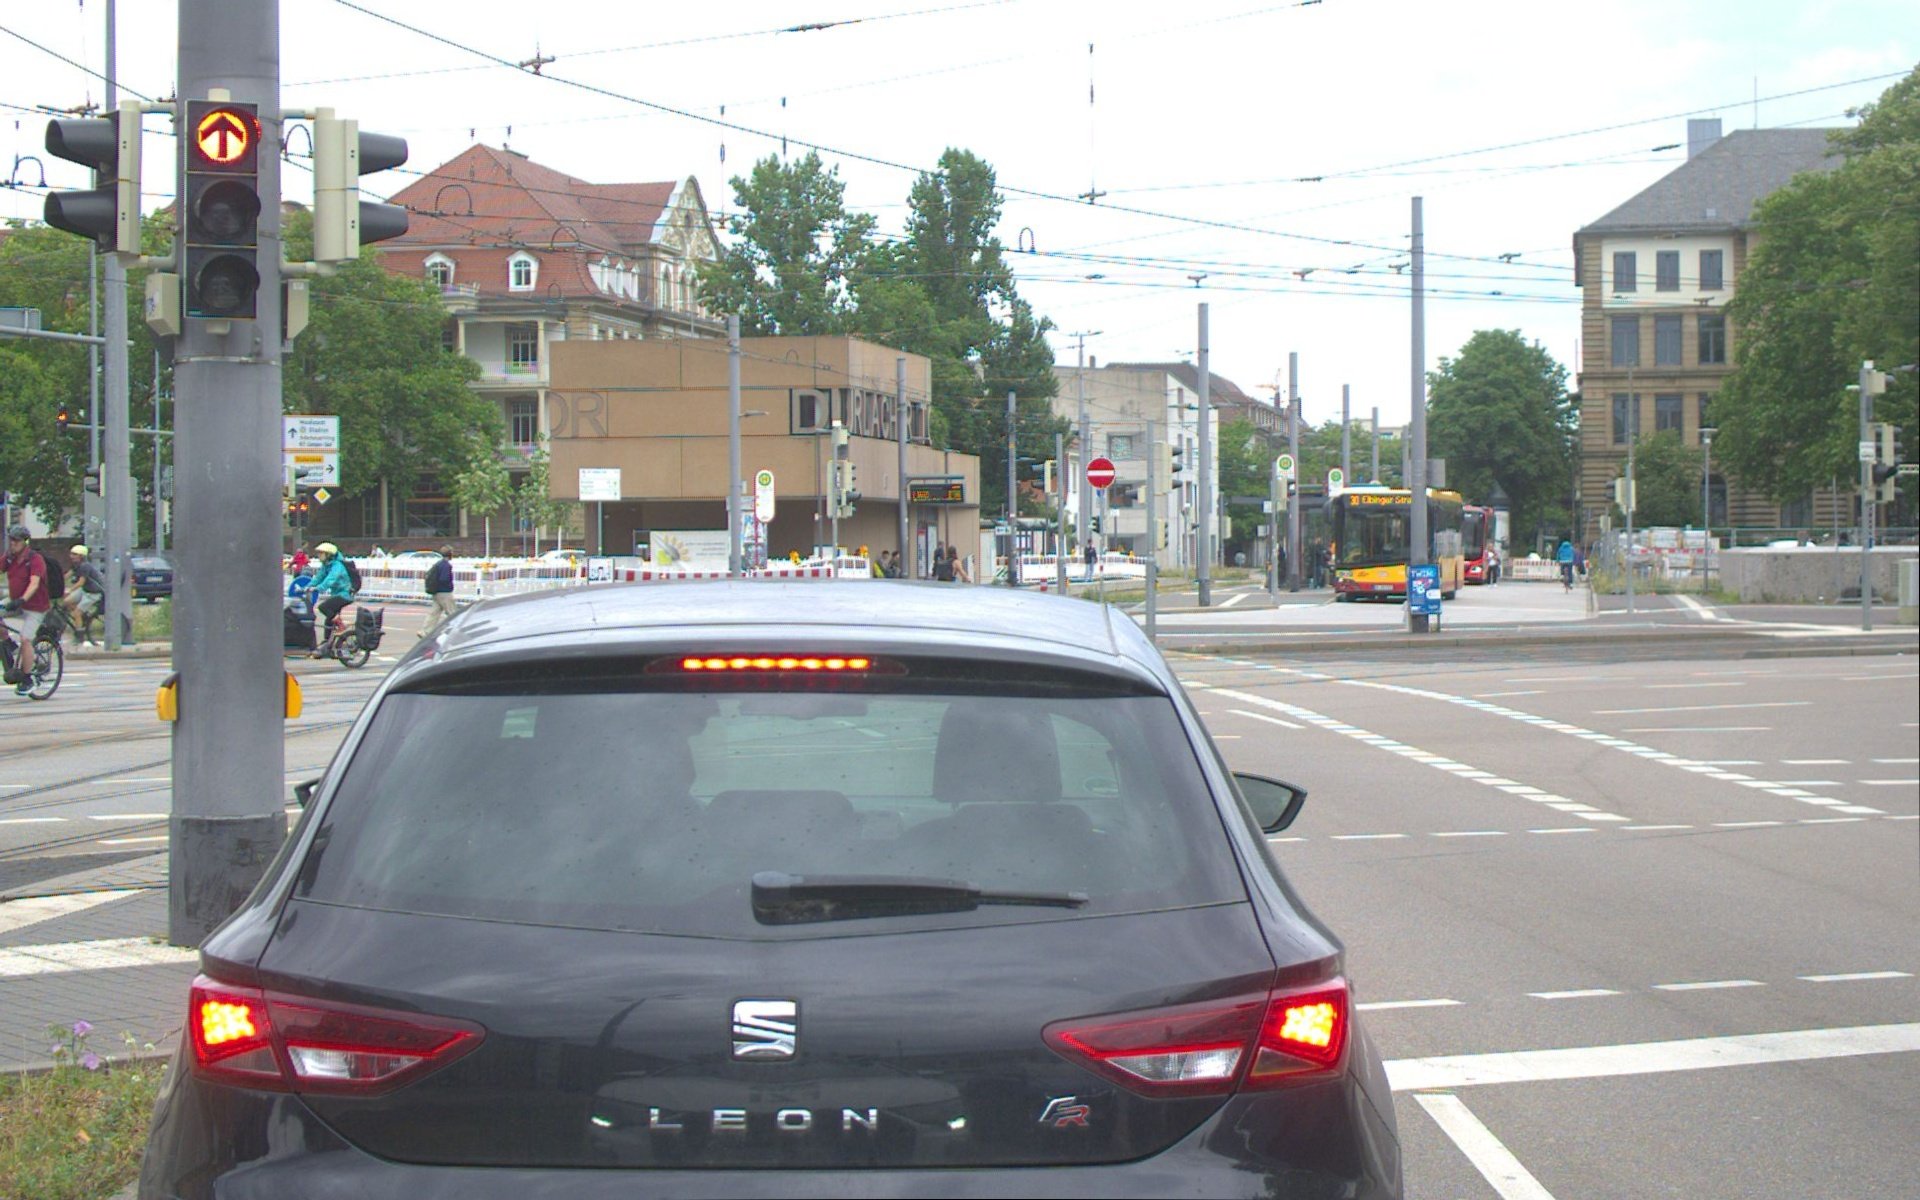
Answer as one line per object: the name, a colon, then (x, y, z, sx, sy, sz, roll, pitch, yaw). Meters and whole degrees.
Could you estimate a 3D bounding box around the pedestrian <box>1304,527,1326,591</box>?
pedestrian: (10.786, -1.248, 104.475, 0.621, 1.911, 0.698, 0, 1, 9)

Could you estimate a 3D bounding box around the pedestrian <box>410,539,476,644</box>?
pedestrian: (-9.583, -0.168, 63.713, 1.027, 1.927, 0.701, -1, 1, -25)

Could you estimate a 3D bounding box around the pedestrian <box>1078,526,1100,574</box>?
pedestrian: (5.148, -2.006, 137.512, 0.622, 1.911, 0.709, -1, 0, 25)

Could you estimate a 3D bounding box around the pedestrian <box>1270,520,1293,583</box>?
pedestrian: (9.731, -1.465, 104.056, 0.621, 1.911, 0.698, 0, 1, 9)

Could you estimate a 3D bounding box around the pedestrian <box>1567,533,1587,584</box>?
pedestrian: (24.049, -1.619, 133.965, 0.662, 2.007, 0.692, 0, 1, 0)

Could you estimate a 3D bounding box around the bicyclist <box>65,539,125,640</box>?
bicyclist: (-14.463, -0.184, 57.480, 0.854, 1.667, 0.654, -1, 1, -25)

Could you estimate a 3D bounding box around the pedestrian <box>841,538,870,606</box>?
pedestrian: (-2.954, -0.806, 97.371, 0.708, 1.911, 0.623, 0, 1, 7)

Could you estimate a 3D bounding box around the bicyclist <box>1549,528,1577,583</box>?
bicyclist: (20.155, -1.488, 114.857, 0.872, 1.845, 1.047, 0, 1, 12)

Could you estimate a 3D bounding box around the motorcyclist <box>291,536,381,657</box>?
motorcyclist: (-8.586, -0.049, 47.293, 0.977, 1.644, 0.750, -1, 0, -33)

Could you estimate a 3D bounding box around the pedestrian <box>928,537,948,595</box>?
pedestrian: (-0.737, -1.141, 113.700, 0.621, 1.911, 0.710, 0, 1, 3)

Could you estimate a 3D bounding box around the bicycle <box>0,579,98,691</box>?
bicycle: (-10.359, 0.373, 37.312, 0.776, 1.180, 2.029, 0, 1, 28)

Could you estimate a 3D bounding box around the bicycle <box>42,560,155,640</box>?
bicycle: (-14.405, -0.006, 57.509, 1.730, 1.317, 0.645, -1, 1, -26)

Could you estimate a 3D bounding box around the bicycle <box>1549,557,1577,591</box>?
bicycle: (20.143, -0.874, 114.782, 0.866, 1.101, 2.301, 0, 1, 12)

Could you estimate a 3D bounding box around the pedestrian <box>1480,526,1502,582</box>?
pedestrian: (18.969, -1.636, 122.786, 0.662, 2.007, 0.692, 0, 1, 0)

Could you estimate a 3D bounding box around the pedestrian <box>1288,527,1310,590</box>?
pedestrian: (10.397, -1.268, 105.530, 0.621, 1.911, 0.710, 0, 1, 3)

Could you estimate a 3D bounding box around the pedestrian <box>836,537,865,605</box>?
pedestrian: (-3.076, -0.808, 96.575, 0.708, 1.911, 0.623, 0, 1, 7)

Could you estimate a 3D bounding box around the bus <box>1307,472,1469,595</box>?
bus: (11.761, -1.800, 93.451, 2.962, 3.112, 11.531, 0, 1, 14)

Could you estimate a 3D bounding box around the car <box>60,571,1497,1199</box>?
car: (-0.351, 0.690, 5.993, 1.704, 1.444, 3.813, 0, 1, -4)

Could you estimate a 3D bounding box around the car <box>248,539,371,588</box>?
car: (-23.254, -1.288, 123.030, 3.987, 1.678, 2.000, -1, 0, 1)

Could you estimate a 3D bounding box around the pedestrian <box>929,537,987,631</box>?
pedestrian: (-0.048, -0.340, 70.961, 0.700, 1.927, 1.028, 0, 1, 38)

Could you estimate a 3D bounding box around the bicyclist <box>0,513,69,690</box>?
bicyclist: (-10.328, 0.006, 37.364, 0.776, 1.891, 0.995, 0, 1, 28)

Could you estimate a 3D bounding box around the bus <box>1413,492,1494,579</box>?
bus: (19.667, -2.558, 136.661, 2.655, 3.272, 10.990, 0, 1, 11)

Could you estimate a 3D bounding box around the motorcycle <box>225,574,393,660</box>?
motorcycle: (-8.905, 0.221, 47.084, 2.135, 1.135, 0.744, -1, 1, -33)

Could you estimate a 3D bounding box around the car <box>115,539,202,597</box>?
car: (-24.445, -0.969, 104.761, 1.993, 1.678, 4.001, 0, 0, -22)
